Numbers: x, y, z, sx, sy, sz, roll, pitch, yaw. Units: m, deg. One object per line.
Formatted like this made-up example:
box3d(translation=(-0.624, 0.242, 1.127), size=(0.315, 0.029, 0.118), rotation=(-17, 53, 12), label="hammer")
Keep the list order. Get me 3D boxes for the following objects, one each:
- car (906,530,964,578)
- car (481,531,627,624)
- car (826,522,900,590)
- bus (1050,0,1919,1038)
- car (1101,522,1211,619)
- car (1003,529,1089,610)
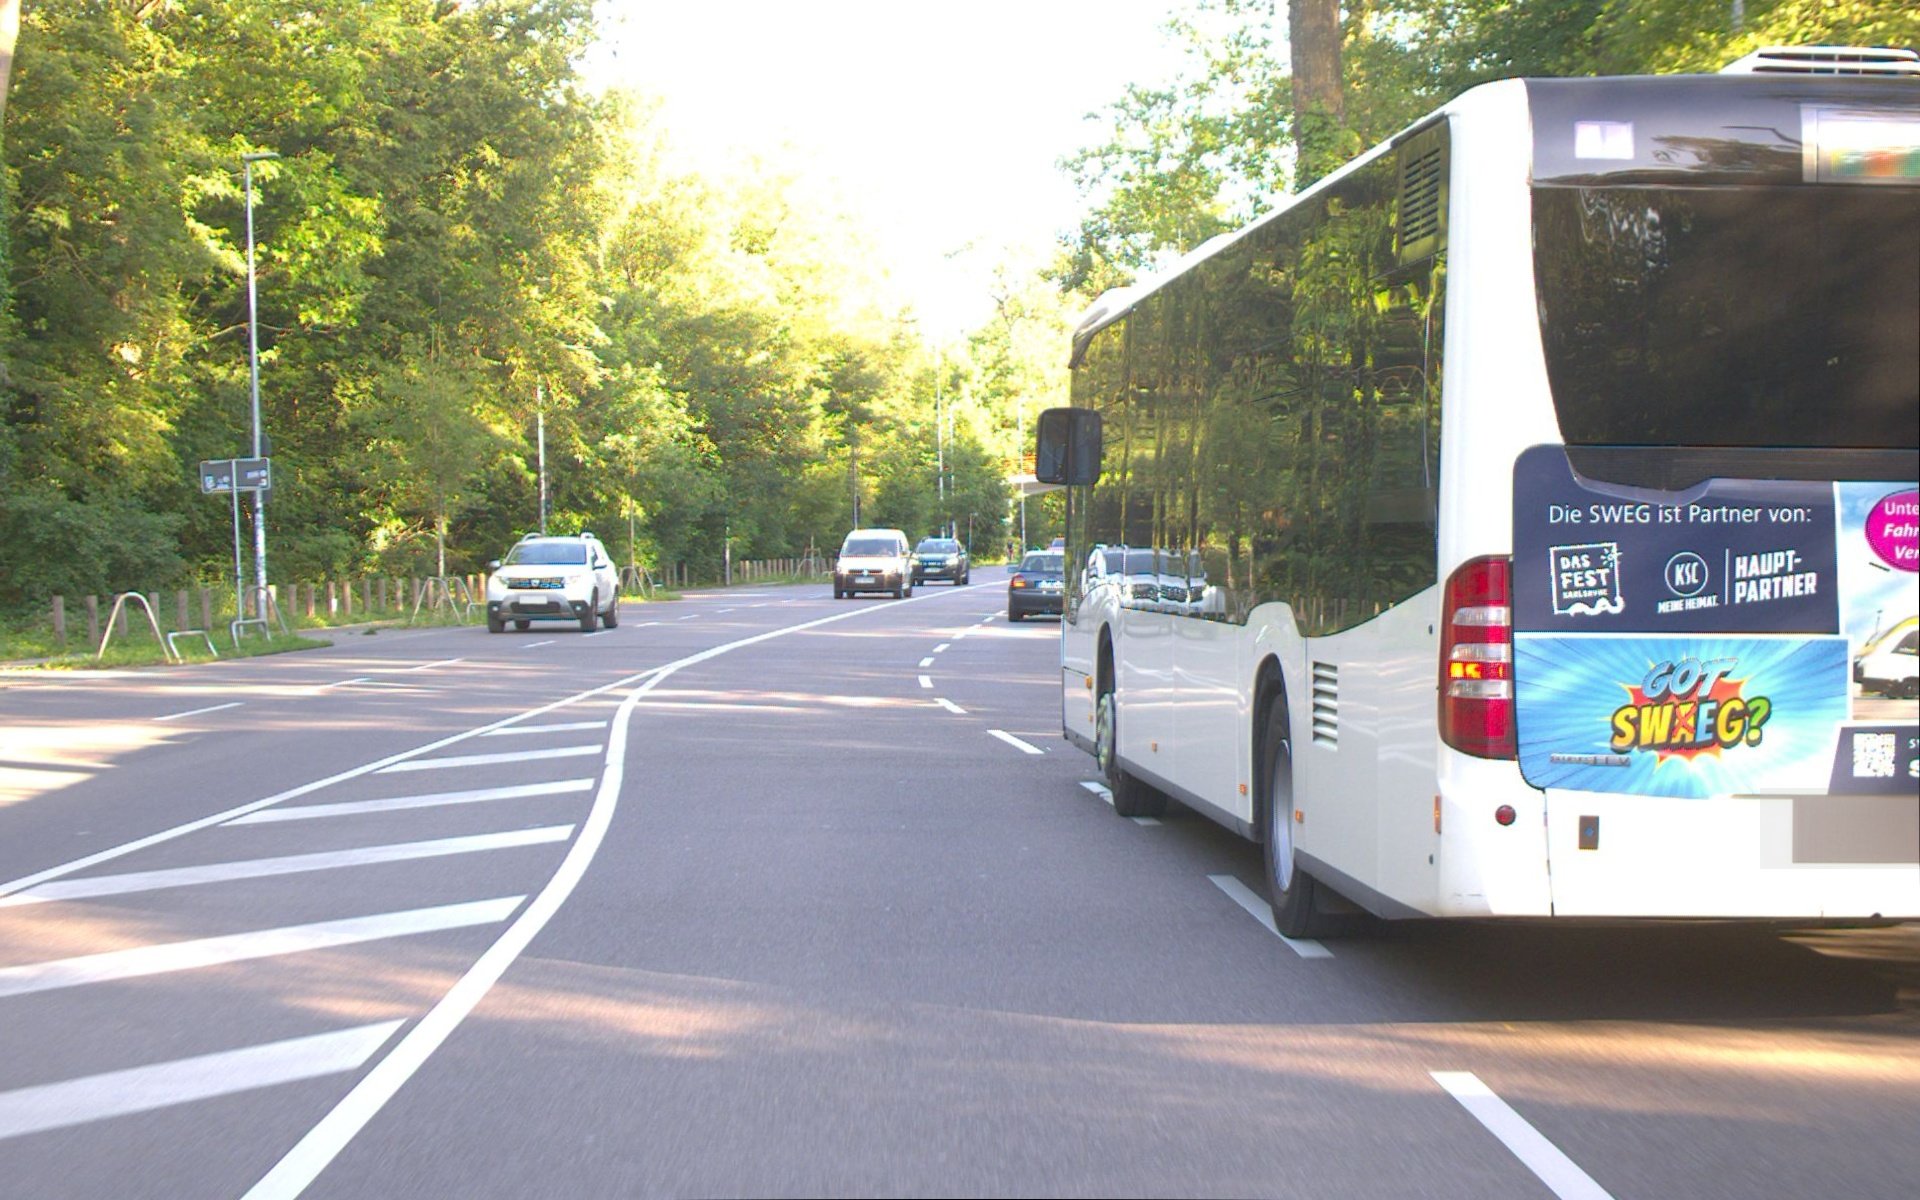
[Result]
box3d(translation=(-0.815, -1.503, 113.891), size=(1.863, 1.560, 4.000), rotation=(0, 0, 0), label="car")
box3d(translation=(-6.912, -0.385, 58.929), size=(1.863, 1.532, 4.131), rotation=(0, 0, 2), label="car")
box3d(translation=(-2.511, -1.137, 90.087), size=(1.863, 1.723, 4.000), rotation=(0, 0, -1), label="car")
box3d(translation=(2.280, -0.310, 15.884), size=(2.689, 3.032, 12.042), rotation=(0, 0, -3), label="bus")
box3d(translation=(3.517, -0.525, 61.265), size=(1.632, 1.653, 4.130), rotation=(0, 0, 8), label="car")
box3d(translation=(1.730, -0.602, 67.859), size=(1.632, 1.542, 4.131), rotation=(0, 0, 2), label="car")
